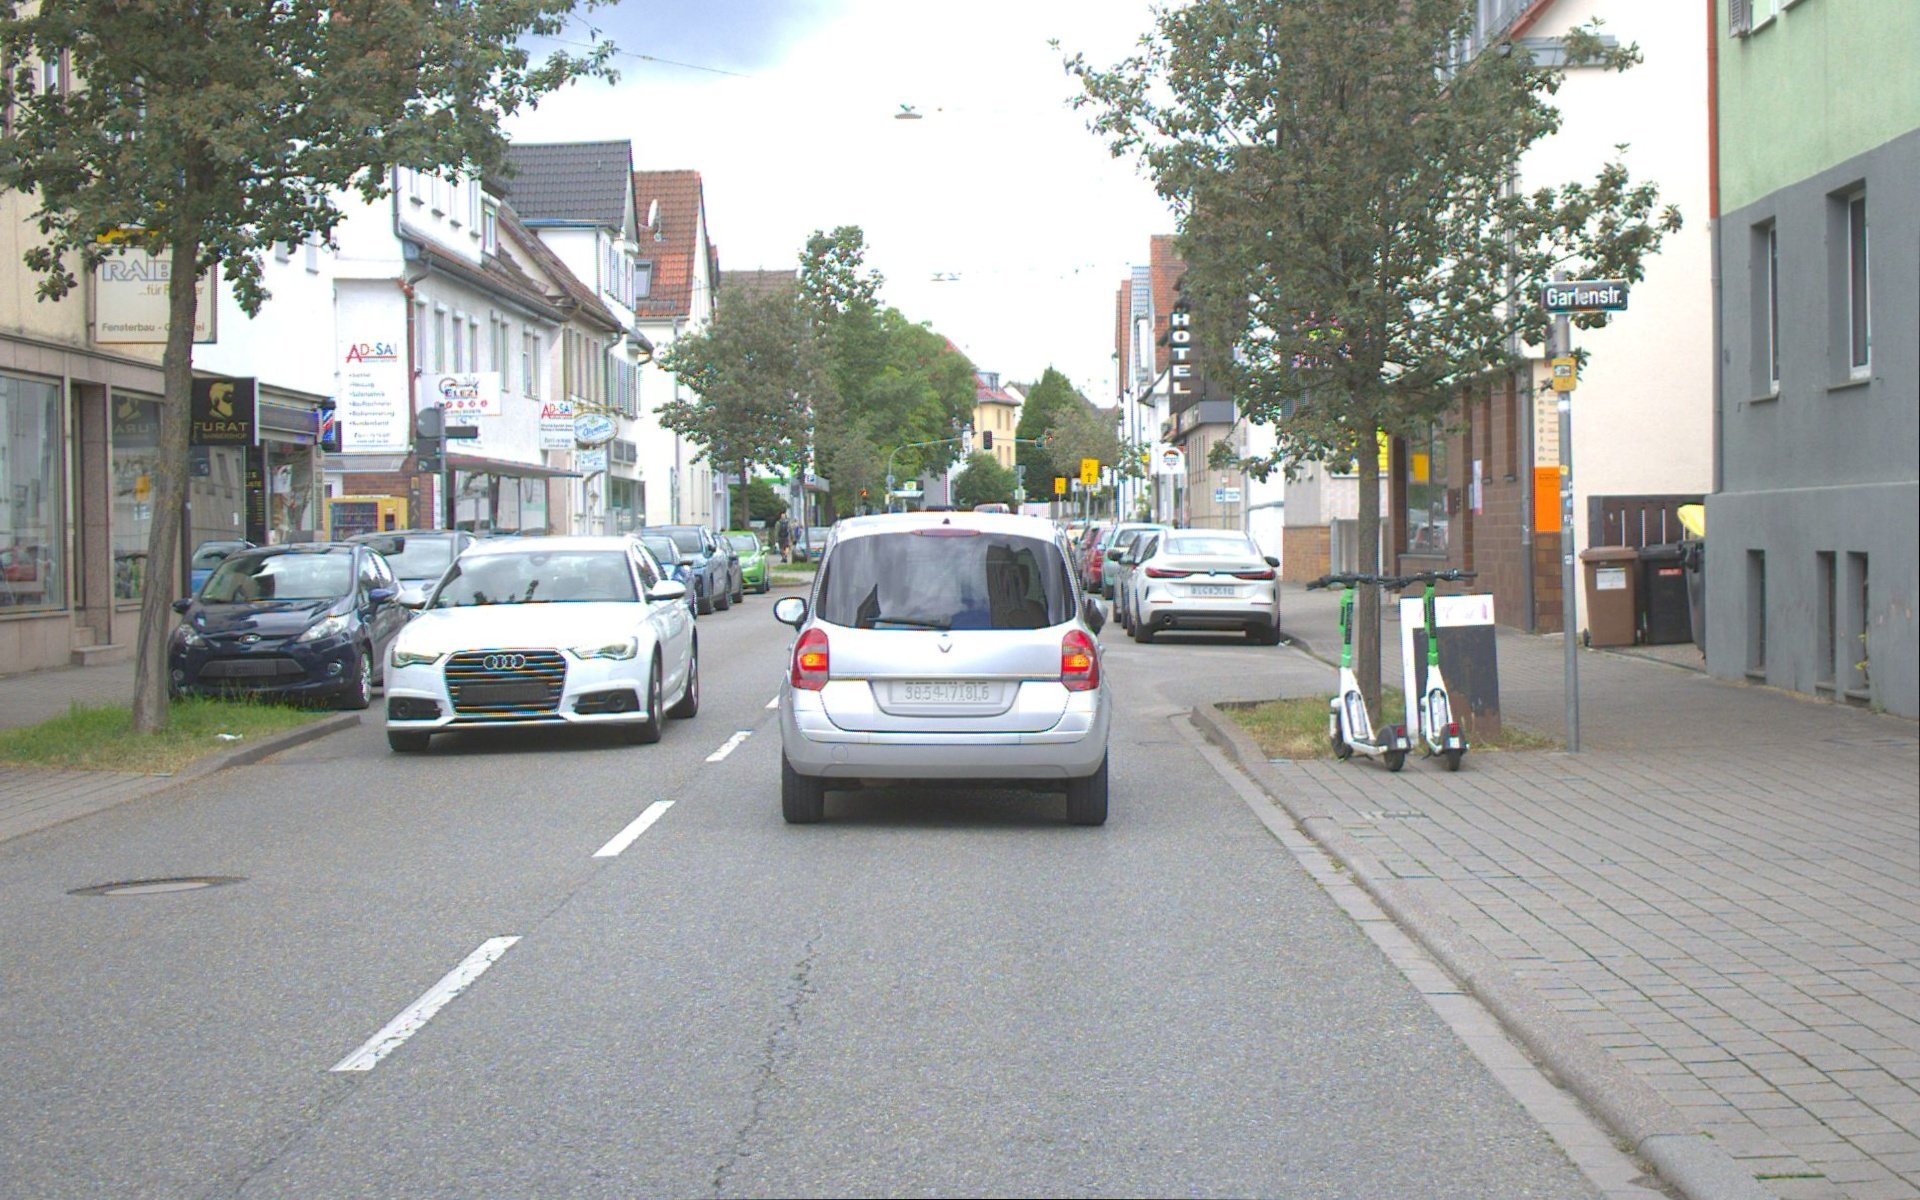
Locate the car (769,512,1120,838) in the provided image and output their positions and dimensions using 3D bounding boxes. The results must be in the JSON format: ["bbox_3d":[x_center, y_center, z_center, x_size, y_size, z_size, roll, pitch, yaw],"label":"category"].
[{"bbox_3d":[-0.023,0.315,18.637,1.682,1.560,3.993,1,1,2],"label":"car"}]

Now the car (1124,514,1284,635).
[{"bbox_3d":[3.061,-0.360,43.842,1.831,1.441,4.332,1,1,2],"label":"car"}]

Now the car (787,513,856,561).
[{"bbox_3d":[-4.579,-2.109,114.256,1.948,1.462,4.516,-3,1,1],"label":"car"}]

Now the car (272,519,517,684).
[{"bbox_3d":[-5.805,-0.032,35.748,1.710,1.560,4.113,-2,1,2],"label":"car"}]

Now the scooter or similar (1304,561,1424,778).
[{"bbox_3d":[2.433,0.390,20.858,0.502,1.231,1.942,0,1,0],"label":"scooter or similar"}]

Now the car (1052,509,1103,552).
[{"bbox_3d":[4.138,-2.464,121.692,1.700,1.462,4.239,0,1,0],"label":"car"}]

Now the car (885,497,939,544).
[{"bbox_3d":[-1.890,-3.150,136.232,1.900,1.731,4.366,-2,1,2],"label":"car"}]

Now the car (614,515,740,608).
[{"bbox_3d":[-5.179,-0.736,63.347,1.803,1.593,4.304,-2,1,2],"label":"car"}]

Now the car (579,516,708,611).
[{"bbox_3d":[-5.305,-0.644,57.951,1.682,1.494,3.775,-2,1,2],"label":"car"}]

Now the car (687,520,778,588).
[{"bbox_3d":[-5.211,-1.077,79.114,1.682,1.442,4.020,-2,1,2],"label":"car"}]

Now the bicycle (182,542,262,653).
[{"bbox_3d":[-8.543,-0.045,39.868,0.502,1.231,1.942,0,1,0],"label":"bicycle"}]

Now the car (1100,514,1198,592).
[{"bbox_3d":[3.753,-0.968,68.822,1.831,1.492,3.993,1,1,2],"label":"car"}]

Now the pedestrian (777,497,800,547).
[{"bbox_3d":[-6.152,-2.819,123.608,0.762,1.785,0.890,0,1,1],"label":"pedestrian"}]

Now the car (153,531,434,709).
[{"bbox_3d":[-5.870,0.130,30.693,1.682,1.420,3.931,-2,1,0],"label":"car"}]

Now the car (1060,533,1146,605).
[{"bbox_3d":[3.025,-0.687,73.497,1.755,1.441,4.455,1,1,1],"label":"car"}]

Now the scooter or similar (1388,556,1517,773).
[{"bbox_3d":[2.968,0.362,20.855,0.502,1.231,1.942,0,1,0],"label":"scooter or similar"}]

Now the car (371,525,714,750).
[{"bbox_3d":[-2.942,0.203,25.145,1.843,1.428,4.543,-2,1,1],"label":"car"}]
